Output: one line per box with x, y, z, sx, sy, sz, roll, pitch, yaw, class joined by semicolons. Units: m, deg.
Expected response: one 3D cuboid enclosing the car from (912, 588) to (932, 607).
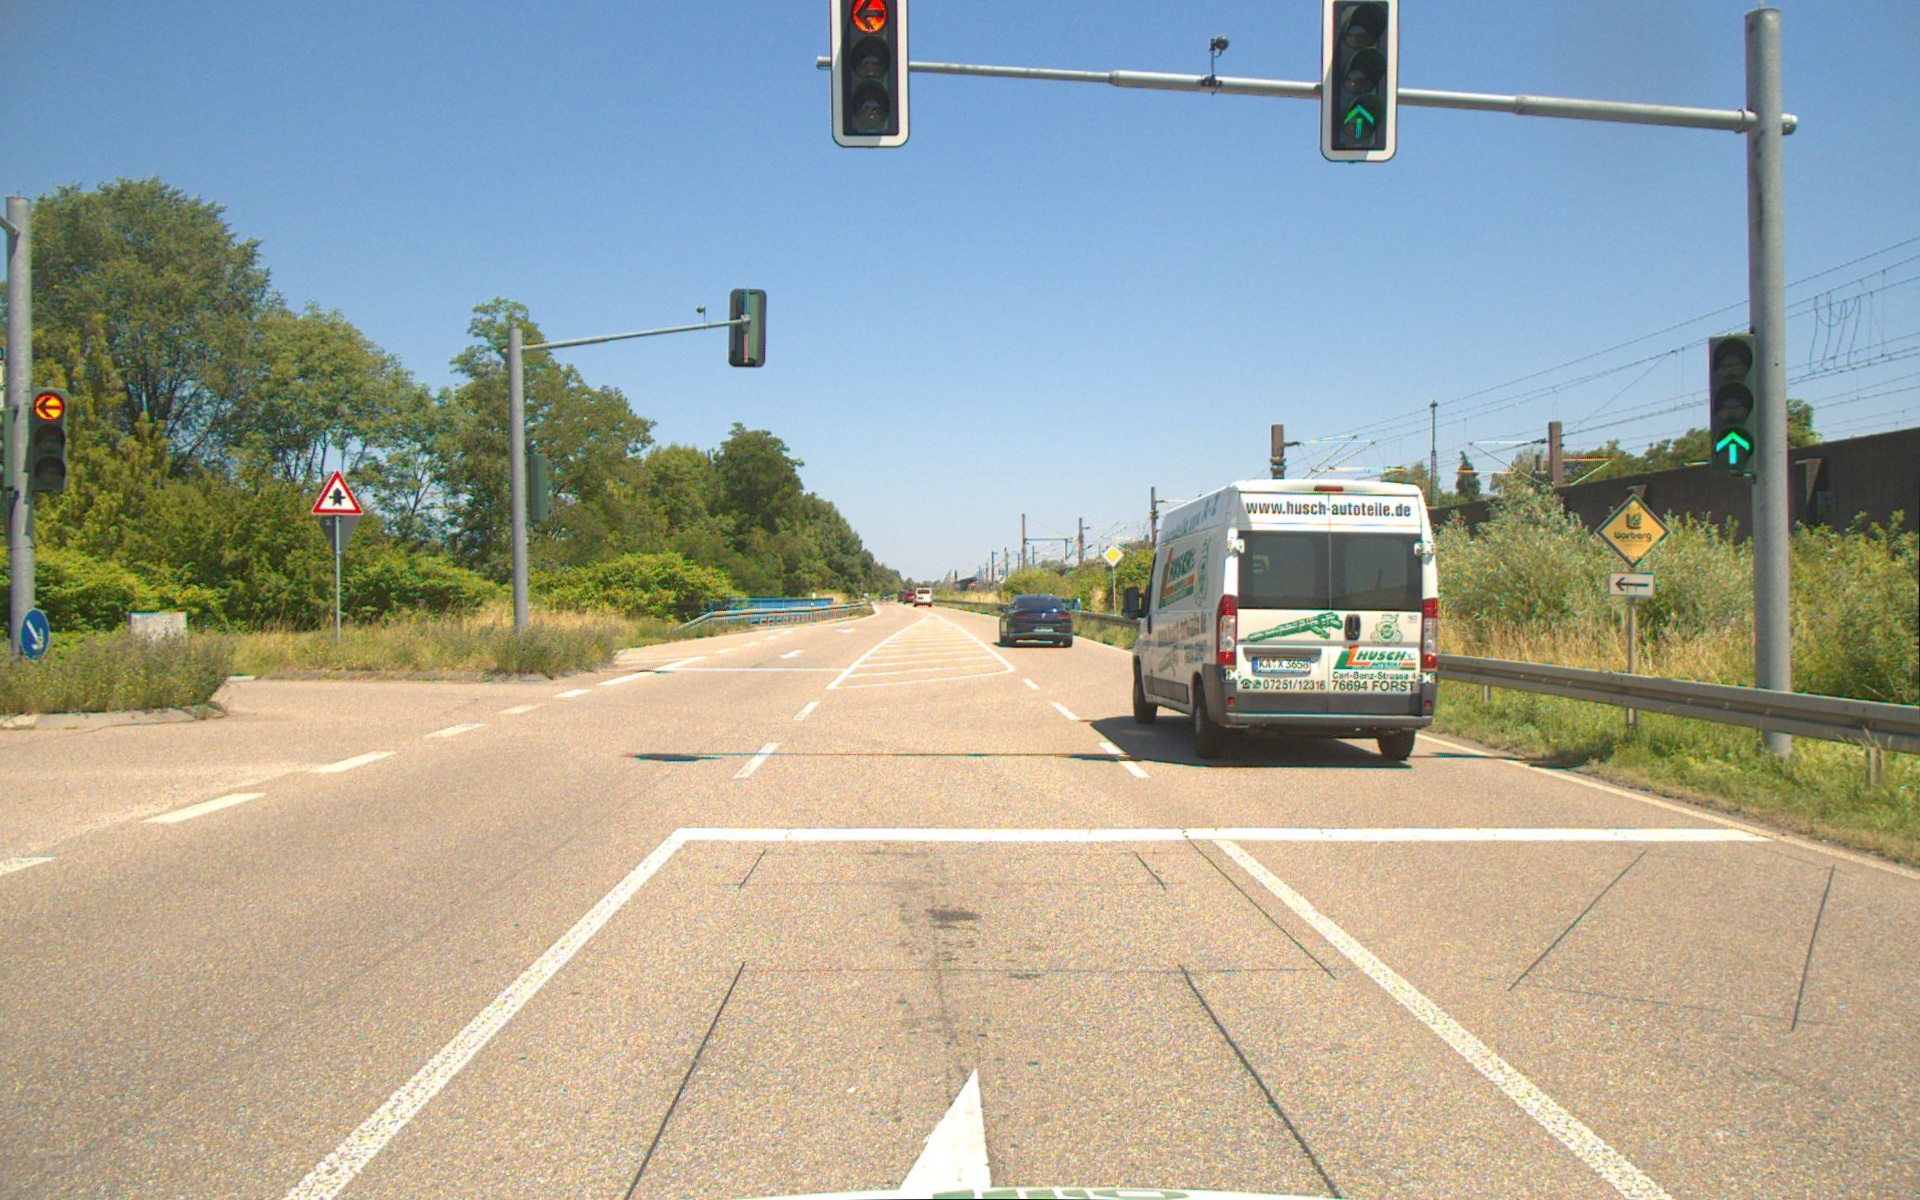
-3.975;-0.277;173.646;1.953;2.018;4.058;1;0;-2;car

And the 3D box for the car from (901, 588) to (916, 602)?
-6.979;-0.686;223.852;1.979;1.756;4.540;0;0;-3;car

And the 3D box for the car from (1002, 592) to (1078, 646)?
2.205;0.506;46.572;1.819;1.404;4.502;1;0;-1;car

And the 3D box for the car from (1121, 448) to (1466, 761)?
3.184;0.015;17.538;2.144;2.649;6.749;1;0;-1;car
